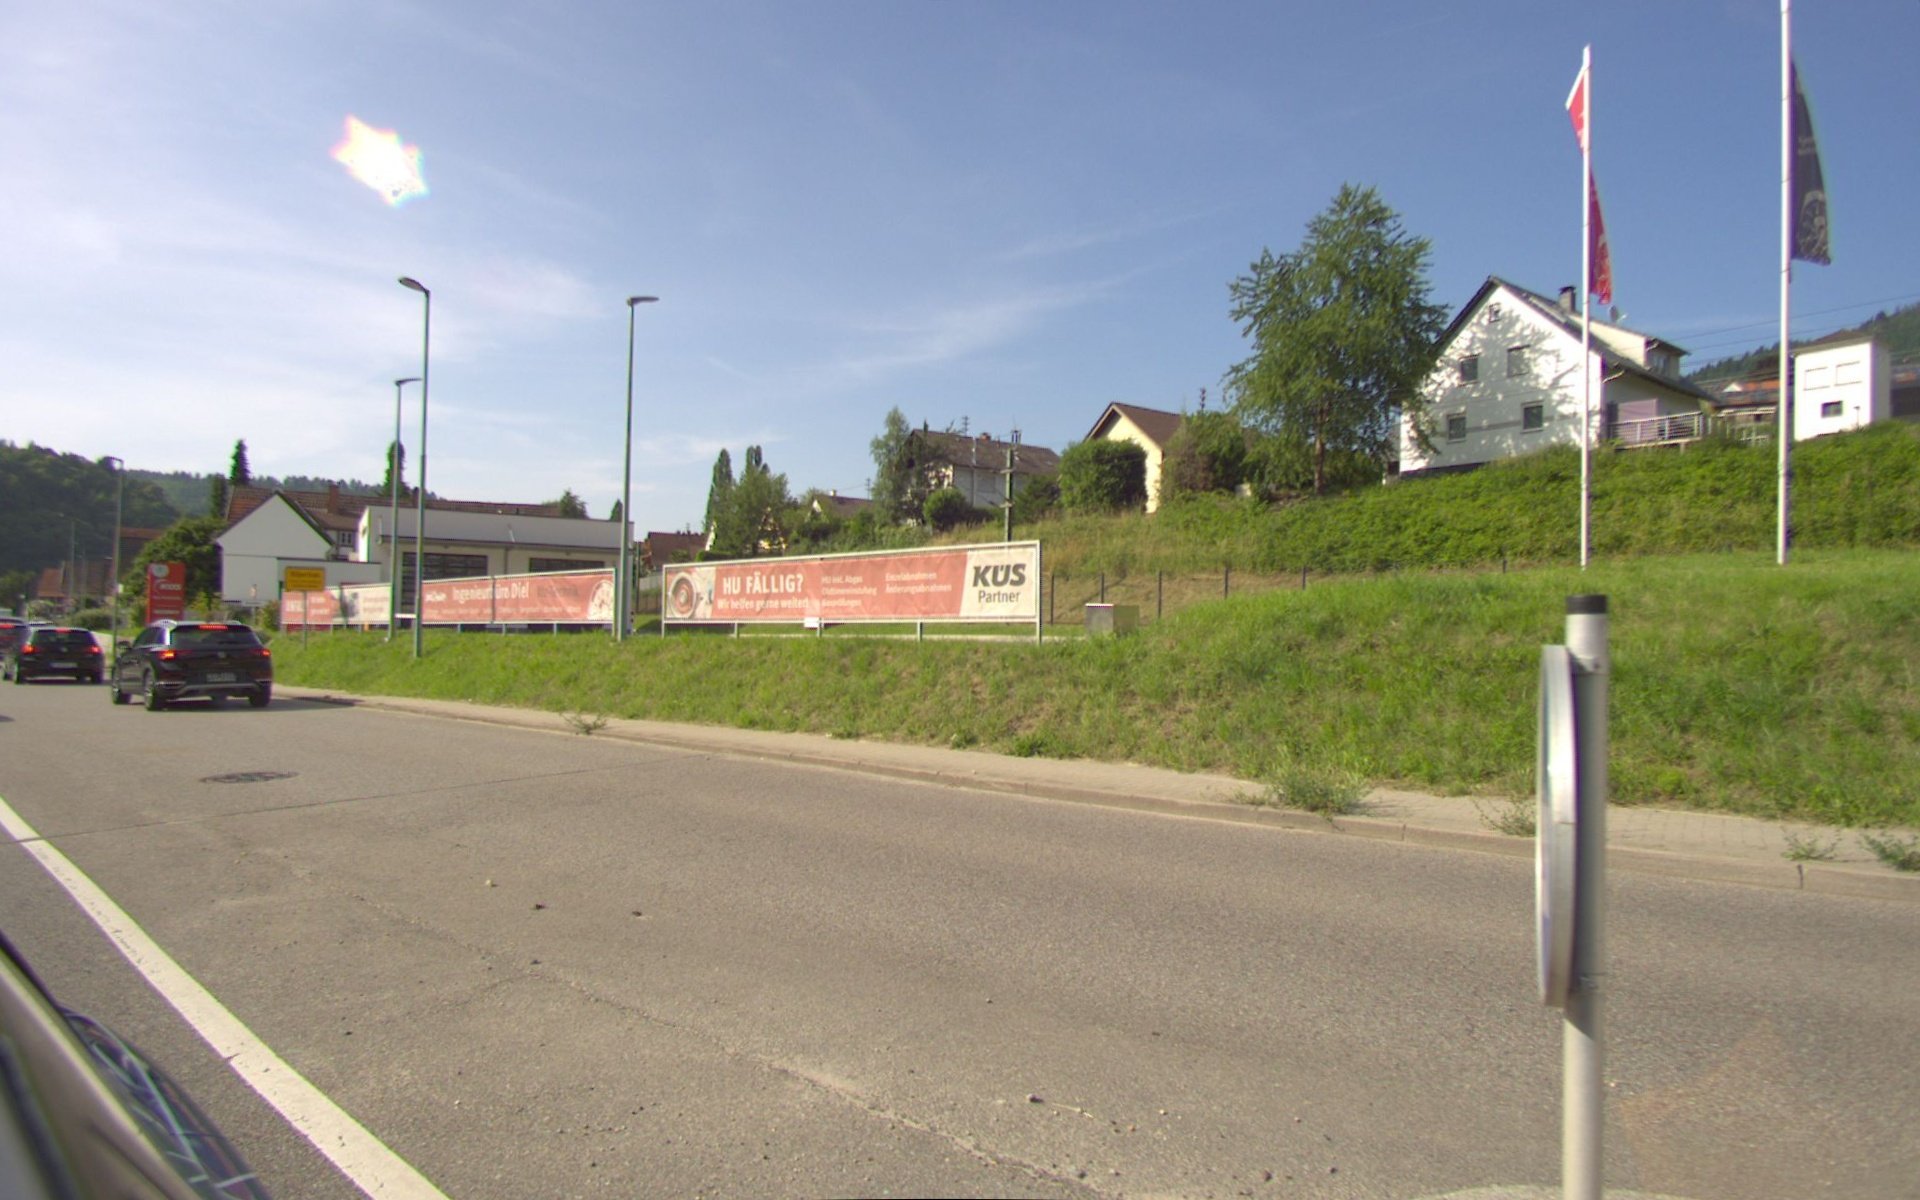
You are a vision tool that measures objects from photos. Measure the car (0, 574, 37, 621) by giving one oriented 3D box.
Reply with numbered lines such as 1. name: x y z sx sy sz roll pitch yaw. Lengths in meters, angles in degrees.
1. car: -33.996 -0.073 35.726 4.158 1.596 1.687 0 -1 42

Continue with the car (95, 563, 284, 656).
1. car: -14.214 0.199 18.585 4.267 1.528 1.757 0 -3 39

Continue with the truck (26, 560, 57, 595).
1. truck: -113.578 -2.720 125.046 2.547 3.961 11.318 3 -2 -43

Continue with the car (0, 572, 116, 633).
1. car: -23.757 0.051 26.438 4.267 1.418 1.757 1 -3 39

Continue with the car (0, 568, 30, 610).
1. car: -45.306 -0.519 47.556 5.295 1.902 1.876 0 -1 42
